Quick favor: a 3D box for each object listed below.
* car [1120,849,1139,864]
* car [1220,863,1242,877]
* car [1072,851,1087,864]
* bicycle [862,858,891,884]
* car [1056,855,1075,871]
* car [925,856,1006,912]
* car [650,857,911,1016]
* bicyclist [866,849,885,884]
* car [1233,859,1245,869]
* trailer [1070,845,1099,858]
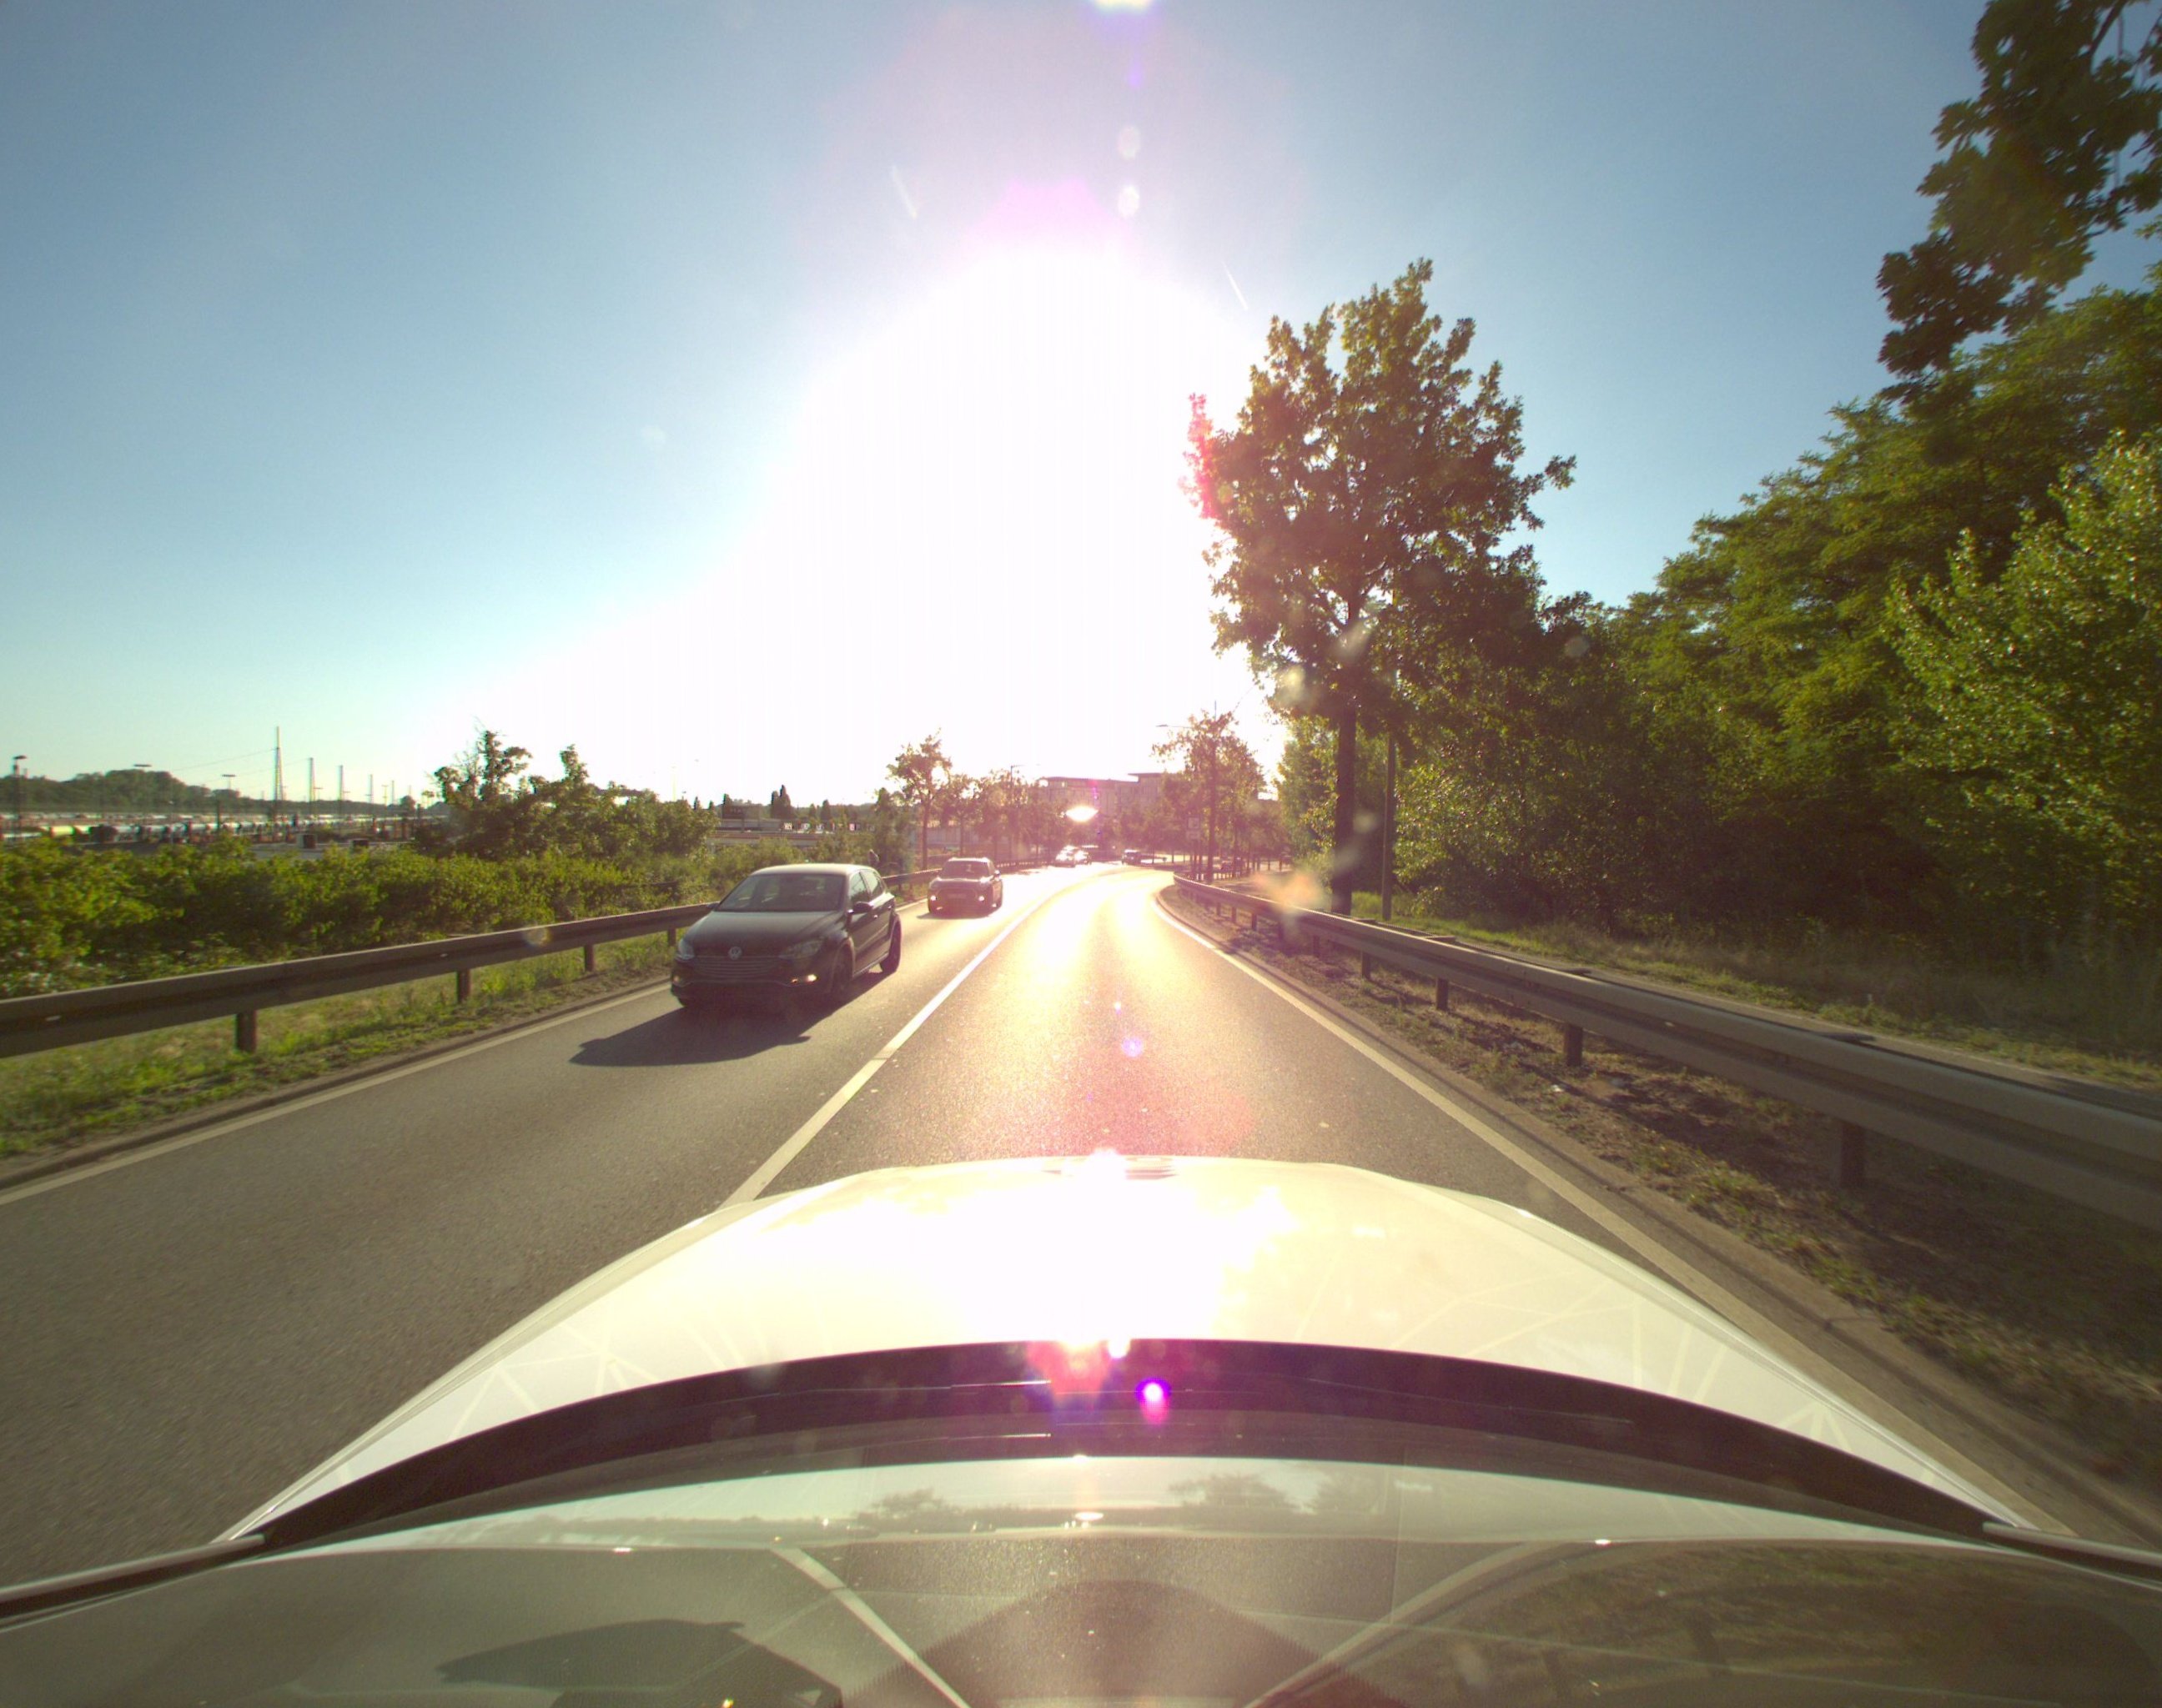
[{"bbox_3d":[6.832,0.393,113.592,1.865,2.013,5.278,-1,0,12],"label":"car"},{"bbox_3d":[17.385,1.850,94.366,1.977,1.508,4.019,-1,-1,18],"label":"car"},{"bbox_3d":[-0.180,0.397,98.938,1.766,1.465,4.383,2,0,0],"label":"car"},{"bbox_3d":[-8.818,0.702,35.120,0.580,1.077,2.314,0,-1,2],"label":"bicycle"},{"bbox_3d":[-1.576,0.925,84.352,1.822,1.589,4.648,-1,0,0],"label":"car"},{"bbox_3d":[-3.154,0.778,22.974,1.677,1.423,3.859,-1,0,0],"label":"car"},{"bbox_3d":[-3.252,0.786,9.658,1.691,1.467,3.857,-1,0,-1],"label":"car"},{"bbox_3d":[-8.830,0.536,35.031,0.597,1.459,0.829,0,-1,2],"label":"bicyclist"},{"bbox_3d":[24.066,1.557,124.133,1.535,1.423,3.432,-1,0,16],"label":"car"},{"bbox_3d":[0.526,-0.395,128.492,2.399,1.969,6.639,3,1,20],"label":"trailer"}]
